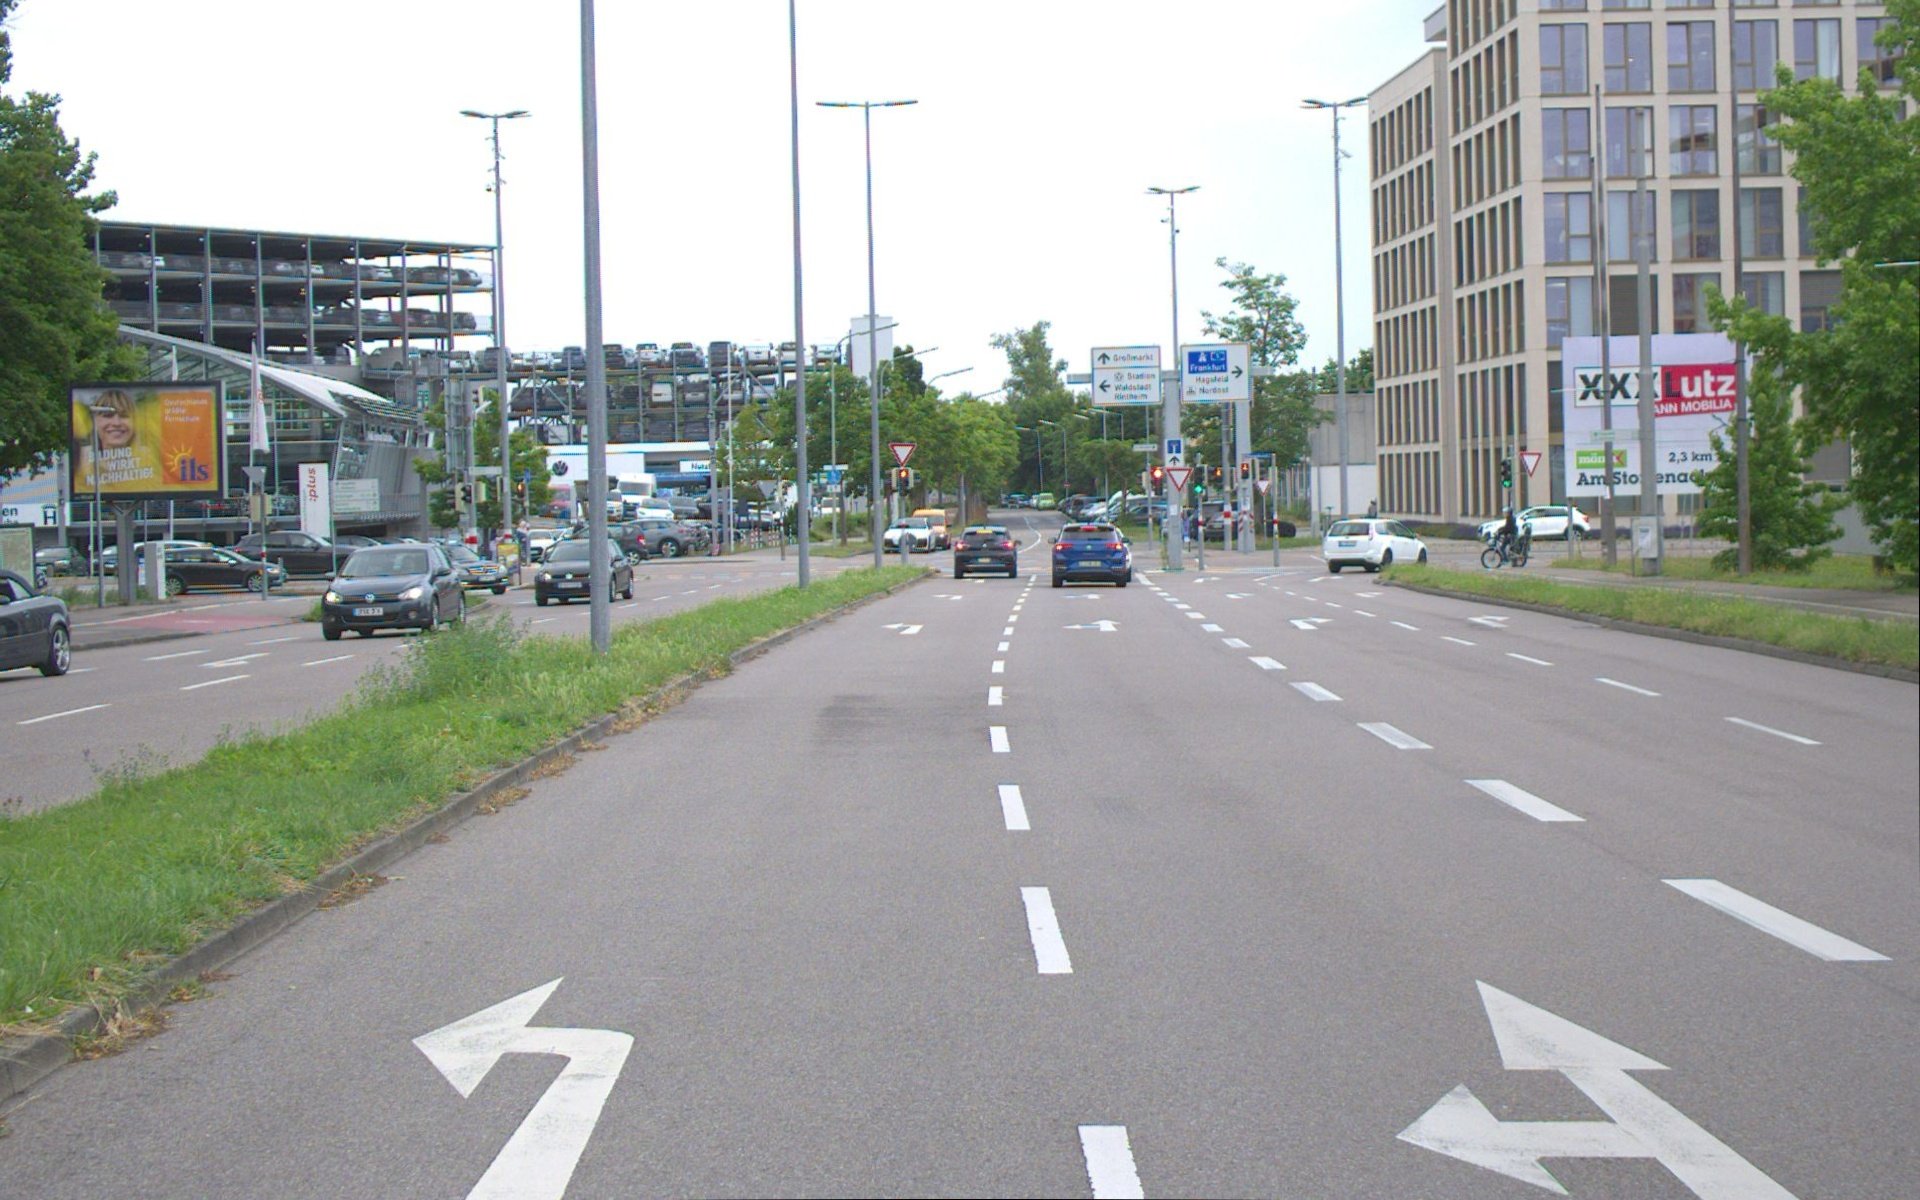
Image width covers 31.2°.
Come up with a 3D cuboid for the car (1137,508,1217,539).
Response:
[{"bbox_3d":[10.770,-3.783,170.717,3.607,1.473,1.758,0,4,21],"label":"car"}]

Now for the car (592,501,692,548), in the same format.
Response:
[{"bbox_3d":[-12.942,-3.079,140.067,3.986,1.784,1.848,-1,3,-3],"label":"car"}]

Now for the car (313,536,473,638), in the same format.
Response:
[{"bbox_3d":[-8.959,-0.240,54.658,1.780,1.450,4.182,-3,2,0],"label":"car"}]

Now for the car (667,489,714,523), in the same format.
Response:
[{"bbox_3d":[-14.427,-5.047,184.157,1.776,1.700,3.916,-1,3,6],"label":"car"}]

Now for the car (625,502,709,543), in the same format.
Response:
[{"bbox_3d":[-12.836,-3.394,150.860,3.605,1.662,1.549,-1,3,-3],"label":"car"}]

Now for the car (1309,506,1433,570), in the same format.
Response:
[{"bbox_3d":[11.713,-1.770,97.866,1.997,1.746,4.173,0,1,30],"label":"car"}]

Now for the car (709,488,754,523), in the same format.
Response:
[{"bbox_3d":[-12.236,-5.083,184.146,1.776,1.700,3.916,-1,3,6],"label":"car"}]

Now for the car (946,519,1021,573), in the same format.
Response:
[{"bbox_3d":[0.630,-1.484,95.770,1.987,1.423,4.241,-1,0,-1],"label":"car"}]

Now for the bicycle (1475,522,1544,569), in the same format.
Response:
[{"bbox_3d":[15.459,-1.538,96.760,0.700,1.291,2.011,-2,2,-35],"label":"bicycle"}]

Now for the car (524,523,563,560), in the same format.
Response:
[{"bbox_3d":[-16.411,-2.298,135.282,1.371,1.321,3.035,-1,3,-9],"label":"car"}]

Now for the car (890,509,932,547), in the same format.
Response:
[{"bbox_3d":[-2.025,-3.028,143.764,1.600,1.448,3.324,-1,3,1],"label":"car"}]

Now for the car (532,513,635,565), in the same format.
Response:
[{"bbox_3d":[-13.752,-2.232,125.733,3.676,1.765,1.746,-1,3,-4],"label":"car"}]

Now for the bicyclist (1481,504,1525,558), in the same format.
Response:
[{"bbox_3d":[15.306,-1.941,96.920,0.700,1.498,1.000,-2,2,-35],"label":"bicyclist"}]

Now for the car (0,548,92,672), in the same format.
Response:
[{"bbox_3d":[-12.123,0.146,41.456,1.772,1.447,4.404,-3,1,6],"label":"car"}]

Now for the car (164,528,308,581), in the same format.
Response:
[{"bbox_3d":[-24.445,-1.542,116.223,4.402,1.638,2.000,-1,3,0],"label":"car"}]

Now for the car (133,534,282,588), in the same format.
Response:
[{"bbox_3d":[-23.976,-1.255,109.684,4.415,1.654,2.000,-1,1,-5],"label":"car"}]

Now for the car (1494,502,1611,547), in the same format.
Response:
[{"bbox_3d":[22.278,-2.855,129.339,3.941,1.562,1.761,-2,3,-12],"label":"car"}]

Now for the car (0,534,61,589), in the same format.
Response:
[{"bbox_3d":[-31.042,-1.174,109.151,4.542,1.654,2.001,-2,2,-5],"label":"car"}]

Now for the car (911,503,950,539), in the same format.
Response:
[{"bbox_3d":[-1.293,-3.519,151.881,1.600,1.448,3.324,-1,3,1],"label":"car"}]

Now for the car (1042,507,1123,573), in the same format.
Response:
[{"bbox_3d":[2.930,-1.472,83.214,1.835,1.509,4.000,-1,1,1],"label":"car"}]

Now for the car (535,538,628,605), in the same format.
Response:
[{"bbox_3d":[-8.648,-0.675,78.894,1.930,1.450,4.183,-1,1,-4],"label":"car"}]

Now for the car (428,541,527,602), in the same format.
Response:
[{"bbox_3d":[-13.105,-0.794,93.647,1.791,1.474,4.531,-3,1,3],"label":"car"}]
